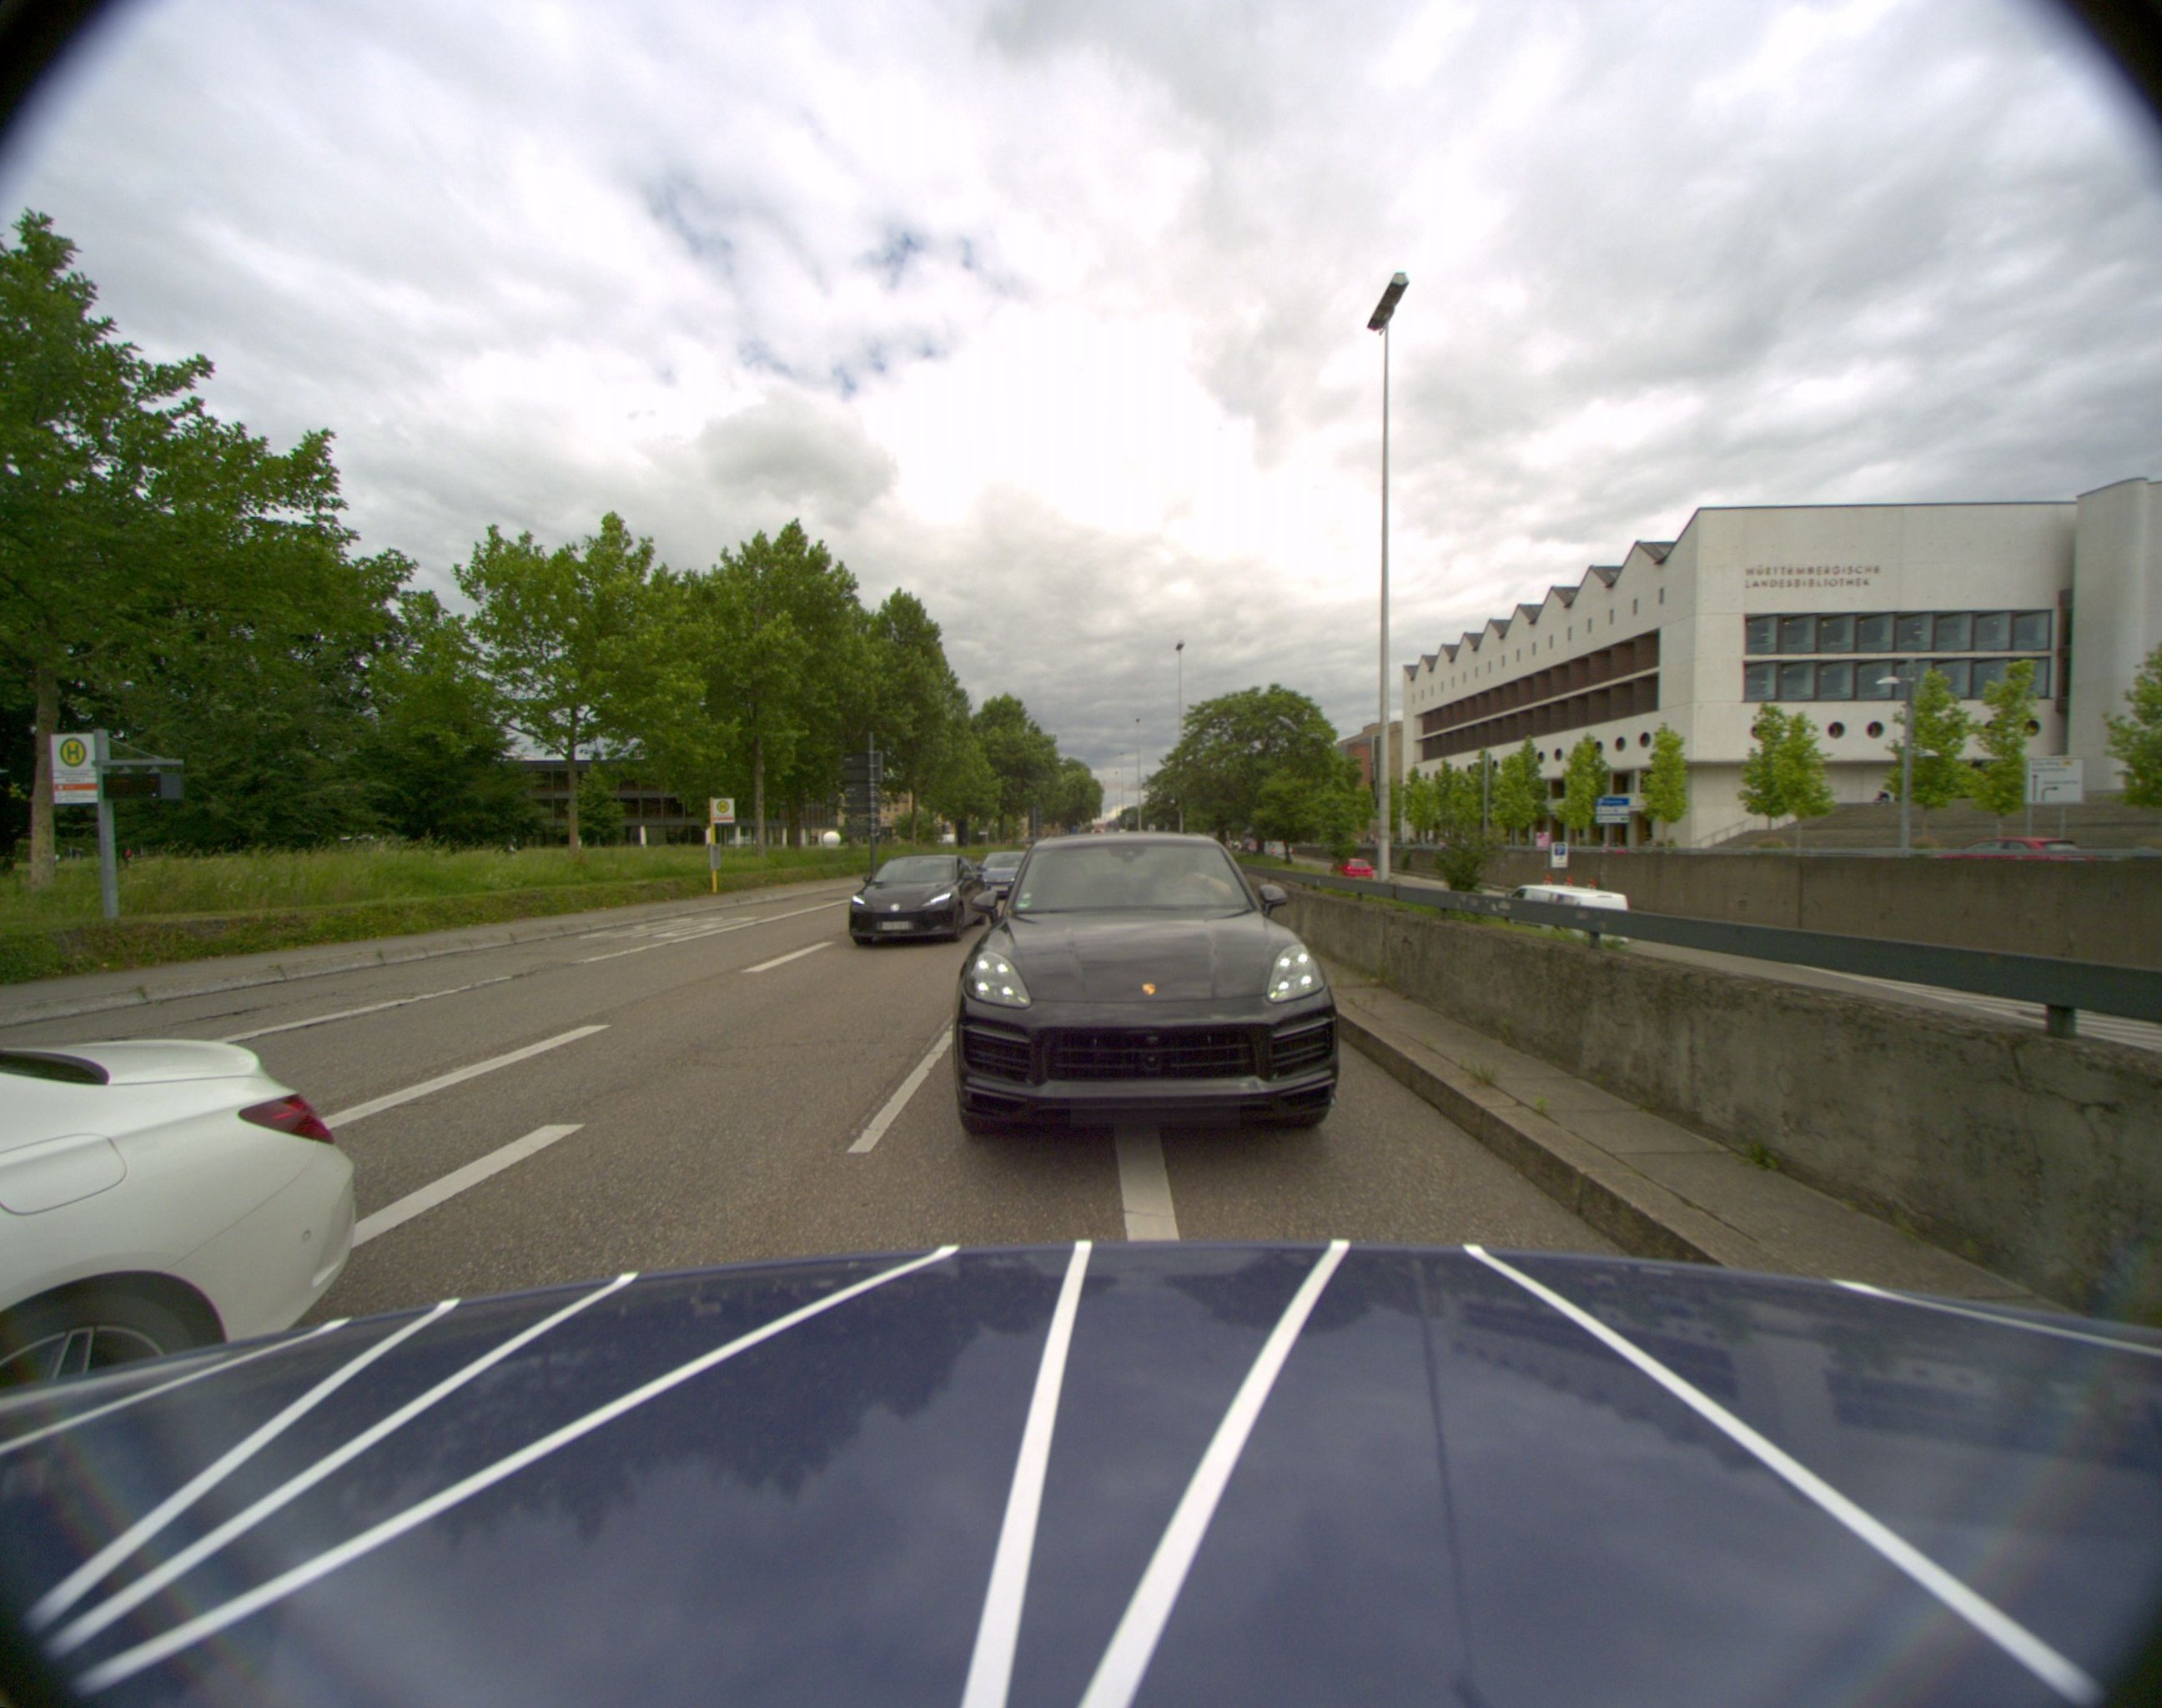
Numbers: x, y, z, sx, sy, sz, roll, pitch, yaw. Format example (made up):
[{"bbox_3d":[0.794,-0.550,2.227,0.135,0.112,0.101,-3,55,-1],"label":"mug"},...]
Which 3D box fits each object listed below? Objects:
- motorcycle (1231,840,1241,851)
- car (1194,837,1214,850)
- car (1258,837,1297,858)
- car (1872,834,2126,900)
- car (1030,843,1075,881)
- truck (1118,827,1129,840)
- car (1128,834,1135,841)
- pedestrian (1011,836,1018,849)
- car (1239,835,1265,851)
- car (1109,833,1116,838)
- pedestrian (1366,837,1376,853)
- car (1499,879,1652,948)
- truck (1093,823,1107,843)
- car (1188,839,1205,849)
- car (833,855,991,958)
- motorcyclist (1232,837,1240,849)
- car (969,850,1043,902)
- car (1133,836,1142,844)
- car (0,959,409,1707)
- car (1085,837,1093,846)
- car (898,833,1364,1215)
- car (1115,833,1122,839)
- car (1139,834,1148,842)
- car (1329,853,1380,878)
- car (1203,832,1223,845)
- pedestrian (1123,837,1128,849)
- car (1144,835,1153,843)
[{"bbox_3d":[17.744,-0.988,86.967,0.687,1.092,2.049,3,4,1],"label":"motorcycle"},{"bbox_3d":[17.459,-1.534,108.124,1.998,1.665,4.516,2,1,0],"label":"car"},{"bbox_3d":[17.791,-0.621,68.984,1.999,1.630,5.246,5,3,-1],"label":"car"},{"bbox_3d":[28.518,0.349,23.914,2.180,1.844,4.734,-1,1,-3],"label":"car"},{"bbox_3d":[-1.433,0.360,40.389,2.021,1.823,4.804,-1,1,2],"label":"car"},{"bbox_3d":[11.209,-5.434,200.407,2.576,3.289,8.079,-3,2,2],"label":"truck"},{"bbox_3d":[10.968,-3.533,165.263,1.442,1.390,3.721,2,1,0],"label":"car"},{"bbox_3d":[-10.481,-1.790,120.142,0.892,2.002,1.181,-3,2,2],"label":"pedestrian"},{"bbox_3d":[20.408,-1.365,90.645,1.875,1.604,4.386,0,4,-3],"label":"car"},{"bbox_3d":[10.591,-6.201,254.160,1.998,1.753,3.999,2,2,0],"label":"car"},{"bbox_3d":[36.108,-1.128,94.598,0.722,2.002,1.016,-3,2,2],"label":"pedestrian"},{"bbox_3d":[17.319,2.000,27.012,2.223,2.002,5.116,-1,1,1],"label":"car"},{"bbox_3d":[3.587,-3.932,142.948,2.357,3.518,9.423,-3,2,2],"label":"truck"},{"bbox_3d":[17.095,-1.545,112.524,1.998,1.390,3.999,2,1,0],"label":"car"},{"bbox_3d":[-2.908,0.832,14.014,1.852,1.481,4.092,-1,1,2],"label":"car"},{"bbox_3d":[17.757,-1.291,86.991,0.671,1.345,0.717,3,4,0],"label":"motorcyclist"},{"bbox_3d":[-2.311,0.644,24.272,1.805,1.426,4.015,-1,1,2],"label":"car"},{"bbox_3d":[11.428,-2.780,154.102,1.372,1.389,3.722,-1,-1,-1],"label":"car"},{"bbox_3d":[-3.184,1.110,0.211,1.799,1.412,4.526,-1,1,2],"label":"car"},{"bbox_3d":[1.864,-3.052,179.093,1.693,2.002,3.999,-3,2,2],"label":"car"},{"bbox_3d":[0.333,0.672,5.531,1.904,1.581,4.732,-1,1,3],"label":"car"},{"bbox_3d":[11.643,-5.748,238.747,1.998,1.753,3.999,2,2,0],"label":"car"},{"bbox_3d":[11.738,-3.027,142.071,1.372,1.390,3.721,2,1,0],"label":"car"},{"bbox_3d":[17.786,0.704,49.561,1.998,1.477,4.000,-1,1,2],"label":"car"},{"bbox_3d":[16.556,-1.972,95.282,1.779,1.481,4.143,0,4,0],"label":"car"},{"bbox_3d":[7.310,-1.846,124.895,0.792,2.002,0.741,-1,0,2],"label":"pedestrian"},{"bbox_3d":[11.906,-2.603,134.300,1.372,1.390,3.721,2,1,0],"label":"car"}]
